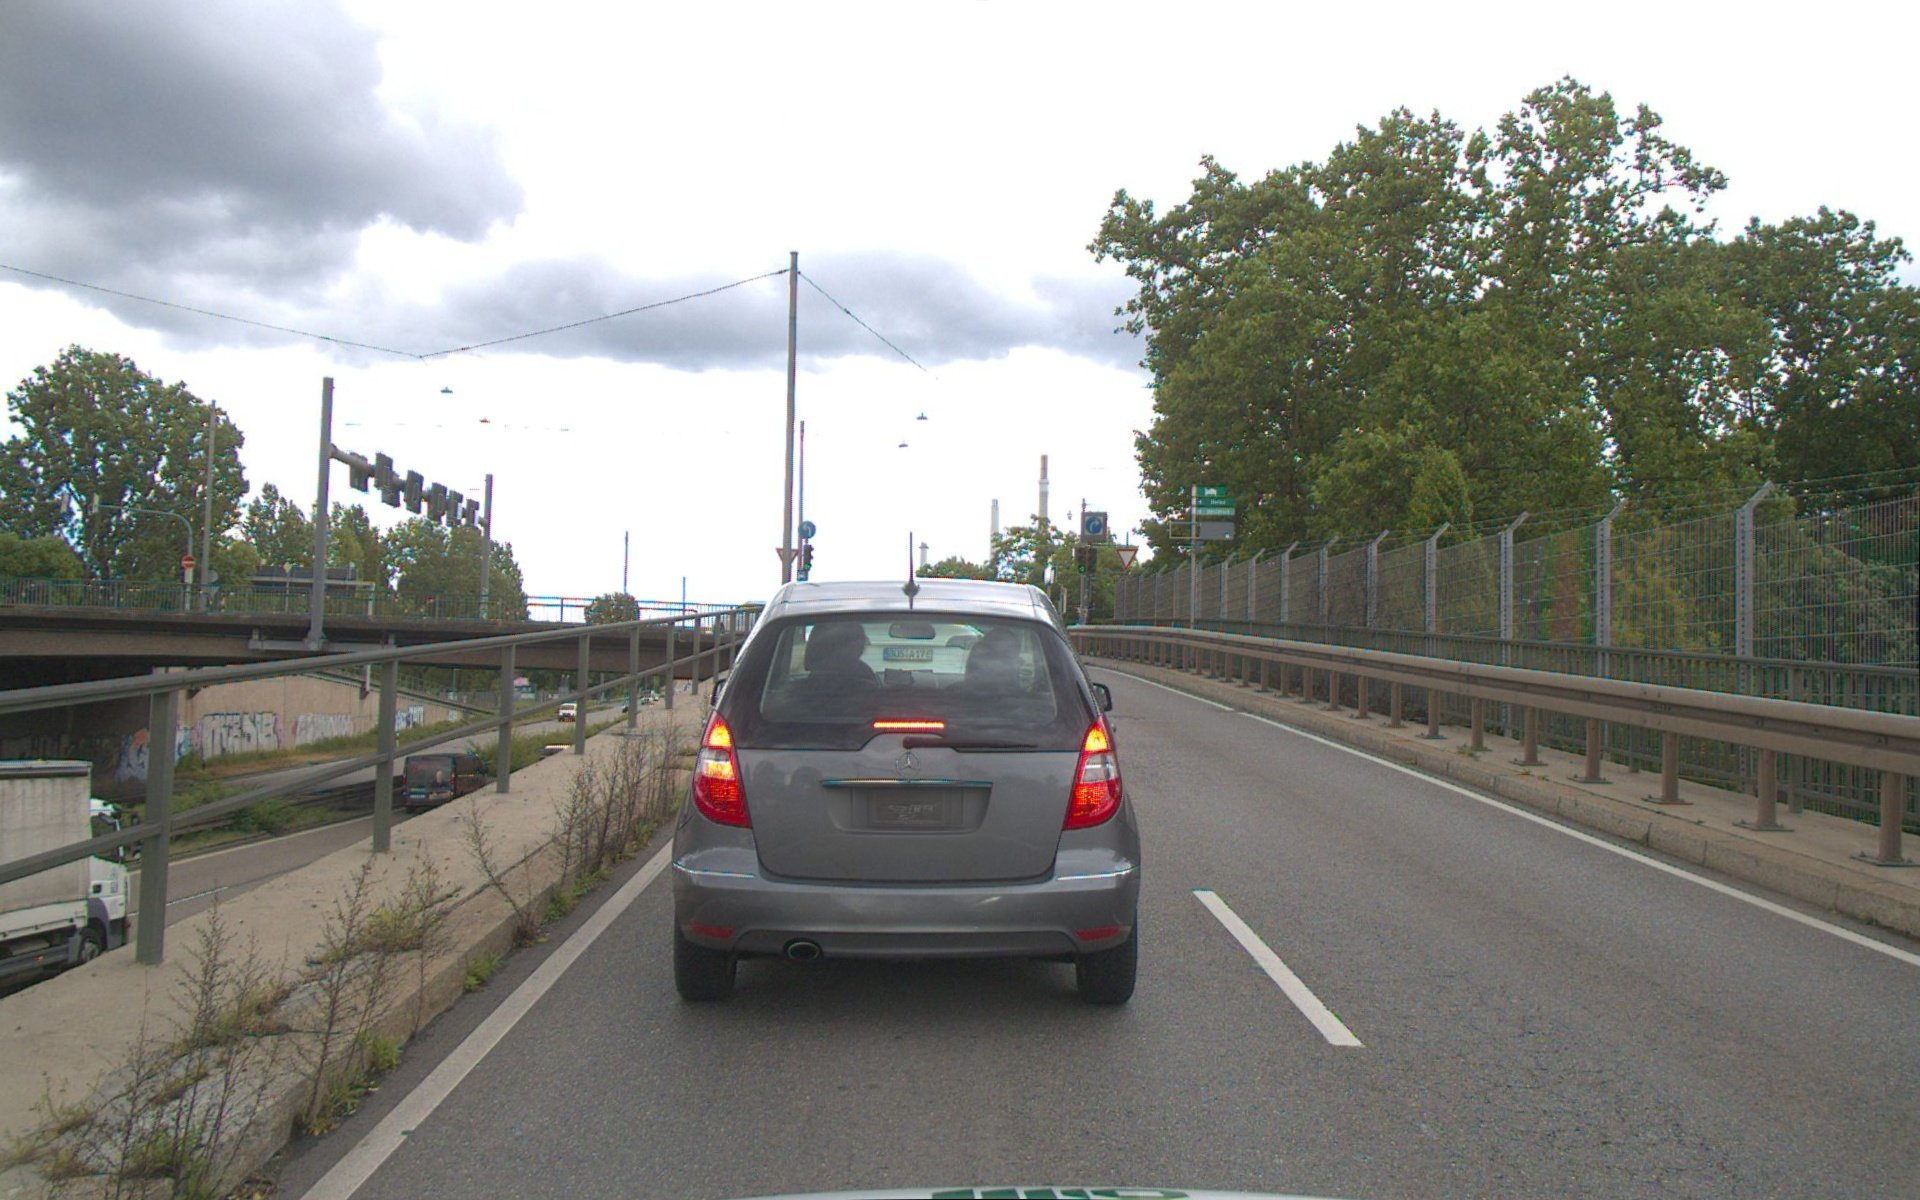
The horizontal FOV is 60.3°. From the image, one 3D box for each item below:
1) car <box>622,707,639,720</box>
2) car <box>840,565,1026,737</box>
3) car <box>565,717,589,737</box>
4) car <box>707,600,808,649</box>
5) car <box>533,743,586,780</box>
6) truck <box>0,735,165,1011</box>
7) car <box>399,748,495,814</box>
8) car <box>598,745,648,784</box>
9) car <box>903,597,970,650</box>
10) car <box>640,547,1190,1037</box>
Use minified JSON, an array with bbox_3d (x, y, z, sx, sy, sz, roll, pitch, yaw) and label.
[{"bbox_3d":[-47.428,16.312,238.059,1.877,1.769,4.548,0,-3,-4],"label":"car"},{"bbox_3d":[-0.385,0.536,19.237,1.893,1.747,4.403,1,0,-3],"label":"car"},{"bbox_3d":[-43.901,14.577,189.590,1.954,2.103,5.171,1,-3,-5],"label":"car"},{"bbox_3d":[-8.307,0.979,67.721,1.985,1.903,4.144,1,0,-45],"label":"car"},{"bbox_3d":[-19.801,7.979,81.960,1.861,1.650,4.174,1,-3,-4],"label":"car"},{"bbox_3d":[-13.521,3.577,21.649,2.691,3.351,7.438,-1,-3,-1],"label":"truck"},{"bbox_3d":[-18.130,6.381,58.672,1.860,2.038,4.956,1,-3,-1],"label":"car"},{"bbox_3d":[-16.280,7.938,80.090,1.861,1.650,4.174,1,-3,-4],"label":"car"},{"bbox_3d":[-0.846,0.797,57.304,1.894,1.747,3.994,1,0,-7],"label":"car"},{"bbox_3d":[-0.176,0.645,7.558,1.820,1.616,3.999,1,0,-1],"label":"car"}]
